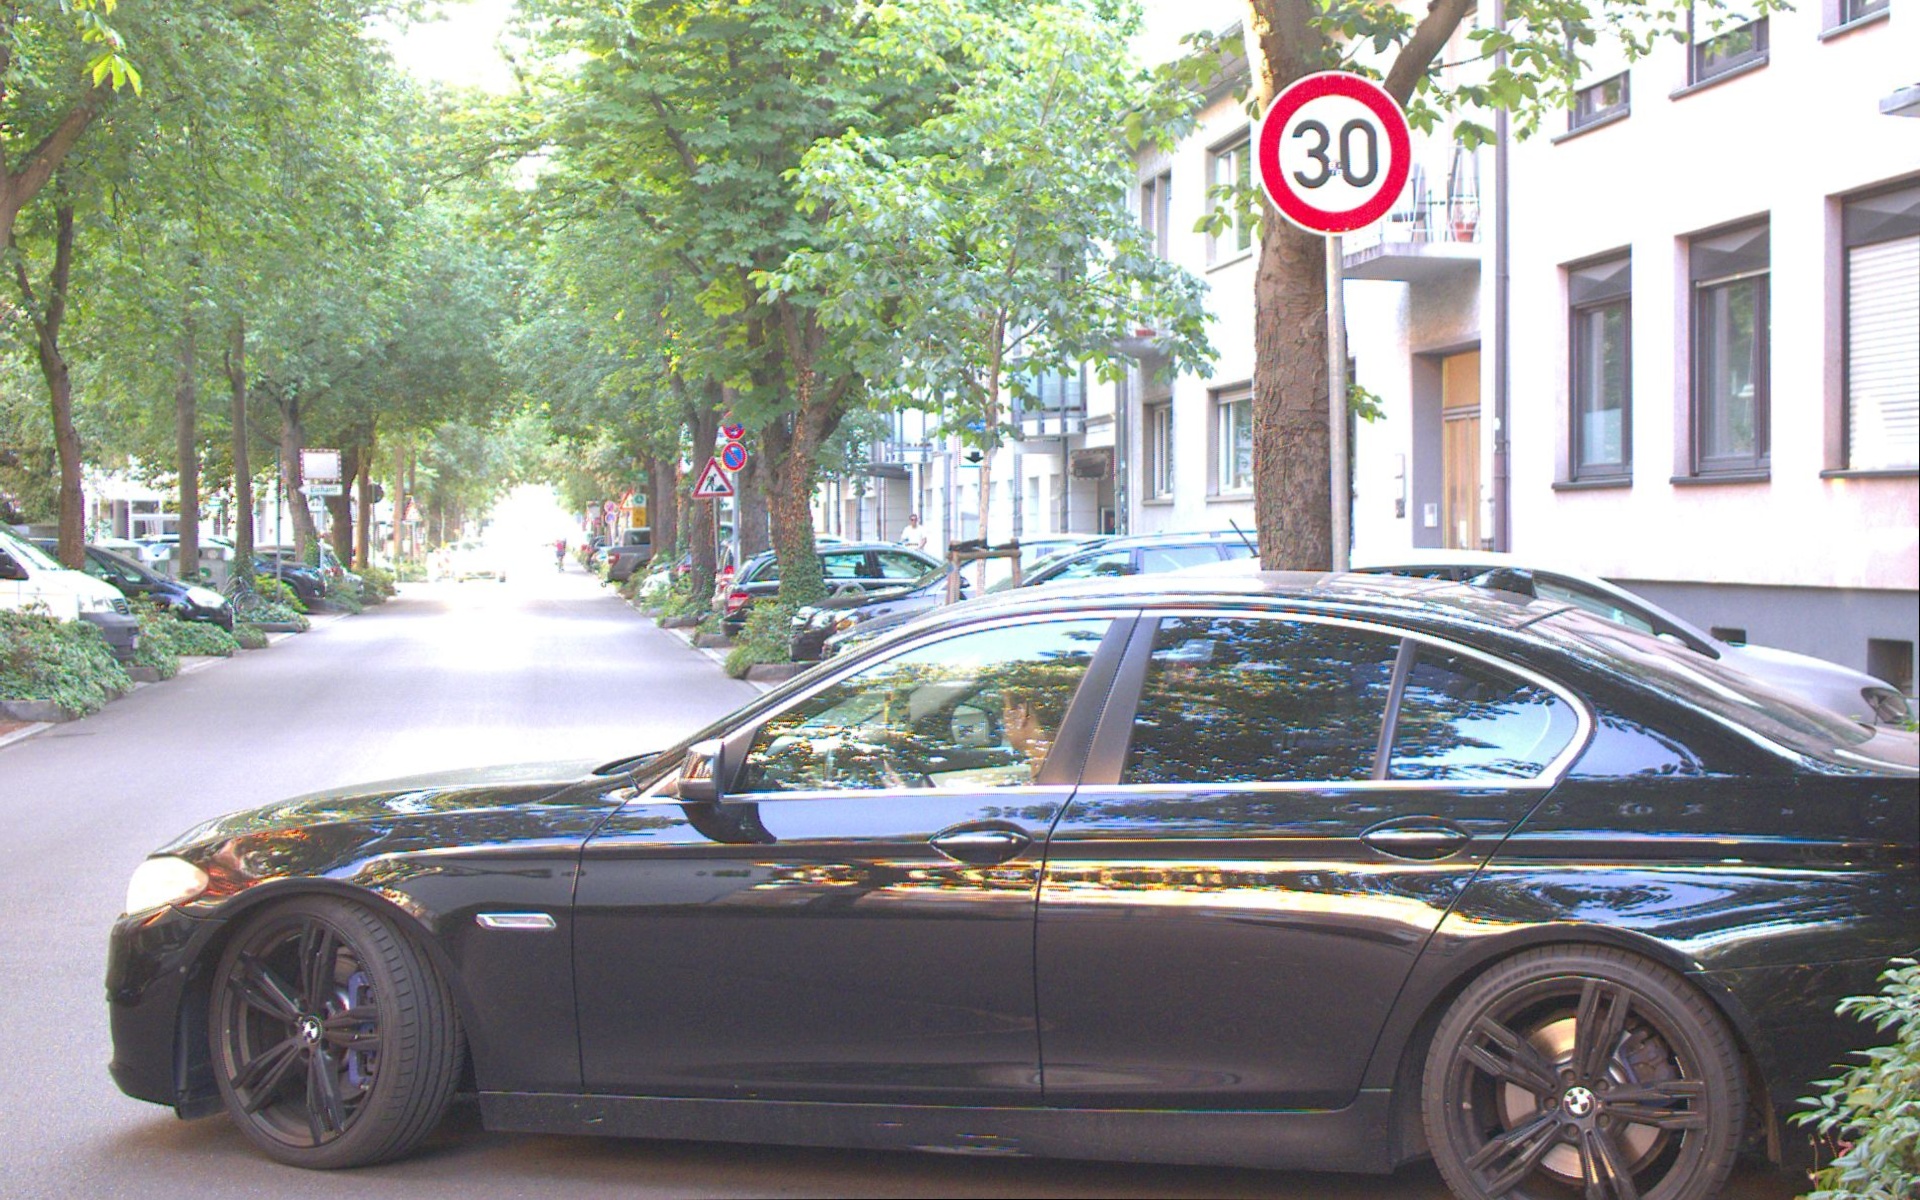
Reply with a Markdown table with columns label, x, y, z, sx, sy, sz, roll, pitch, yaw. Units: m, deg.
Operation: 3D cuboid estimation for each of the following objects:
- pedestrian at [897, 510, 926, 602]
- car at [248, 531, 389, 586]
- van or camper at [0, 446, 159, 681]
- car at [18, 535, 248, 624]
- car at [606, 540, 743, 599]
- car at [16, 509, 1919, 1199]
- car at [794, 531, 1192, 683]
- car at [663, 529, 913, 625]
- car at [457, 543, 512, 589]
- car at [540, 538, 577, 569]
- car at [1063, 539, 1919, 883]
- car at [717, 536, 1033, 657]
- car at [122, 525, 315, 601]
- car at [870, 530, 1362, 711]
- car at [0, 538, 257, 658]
| label | x | y | z | sx | sy | sz | roll | pitch | yaw |
| --- | --- | --- | --- | --- | --- | --- | --- | --- | --- |
| pedestrian | -1.064 | -0.969 | 75.706 | 0.589 | 2.007 | 0.669 | 0 | 1 | -5 |
| car | -19.143 | -1.243 | 102.687 | 3.967 | 1.614 | 1.785 | -1 | 1 | -5 |
| van or camper | -11.139 | -0.391 | 37.050 | 4.662 | 2.470 | 2.000 | 0 | 1 | -7 |
| car | -15.478 | -0.394 | 64.513 | 3.967 | 1.614 | 1.785 | -1 | 1 | -5 |
| car | -8.369 | -0.909 | 100.781 | 3.967 | 1.678 | 1.785 | -1 | 1 | -5 |
| car | 0.282 | 0.533 | 8.390 | 4.749 | 1.475 | 1.799 | 0 | 1 | 17 |
| car | 0.309 | 0.048 | 36.156 | 3.967 | 1.522 | 1.785 | -1 | 1 | -7 |
| car | -2.861 | -0.398 | 56.830 | 3.967 | 1.522 | 1.785 | -1 | 1 | -8 |
| car | -16.736 | -1.213 | 121.192 | 1.779 | 1.557 | 4.169 | 0 | 1 | -6 |
| car | -20.571 | -2.406 | 176.407 | 1.822 | 1.525 | 4.001 | -1 | 1 | -6 |
| car | 2.558 | 0.465 | 16.083 | 3.908 | 1.471 | 1.665 | -1 | 1 | -8 |
| car | -1.144 | -0.065 | 44.967 | 3.967 | 1.522 | 1.785 | -1 | 1 | -7 |
| car | -16.395 | -0.830 | 76.162 | 3.967 | 1.614 | 1.785 | -1 | 1 | -5 |
| car | 1.304 | 0.148 | 29.695 | 3.967 | 1.471 | 1.785 | -1 | 1 | -8 |
| car | -11.938 | -0.048 | 48.049 | 3.967 | 1.614 | 1.785 | -1 | 1 | -6 |
